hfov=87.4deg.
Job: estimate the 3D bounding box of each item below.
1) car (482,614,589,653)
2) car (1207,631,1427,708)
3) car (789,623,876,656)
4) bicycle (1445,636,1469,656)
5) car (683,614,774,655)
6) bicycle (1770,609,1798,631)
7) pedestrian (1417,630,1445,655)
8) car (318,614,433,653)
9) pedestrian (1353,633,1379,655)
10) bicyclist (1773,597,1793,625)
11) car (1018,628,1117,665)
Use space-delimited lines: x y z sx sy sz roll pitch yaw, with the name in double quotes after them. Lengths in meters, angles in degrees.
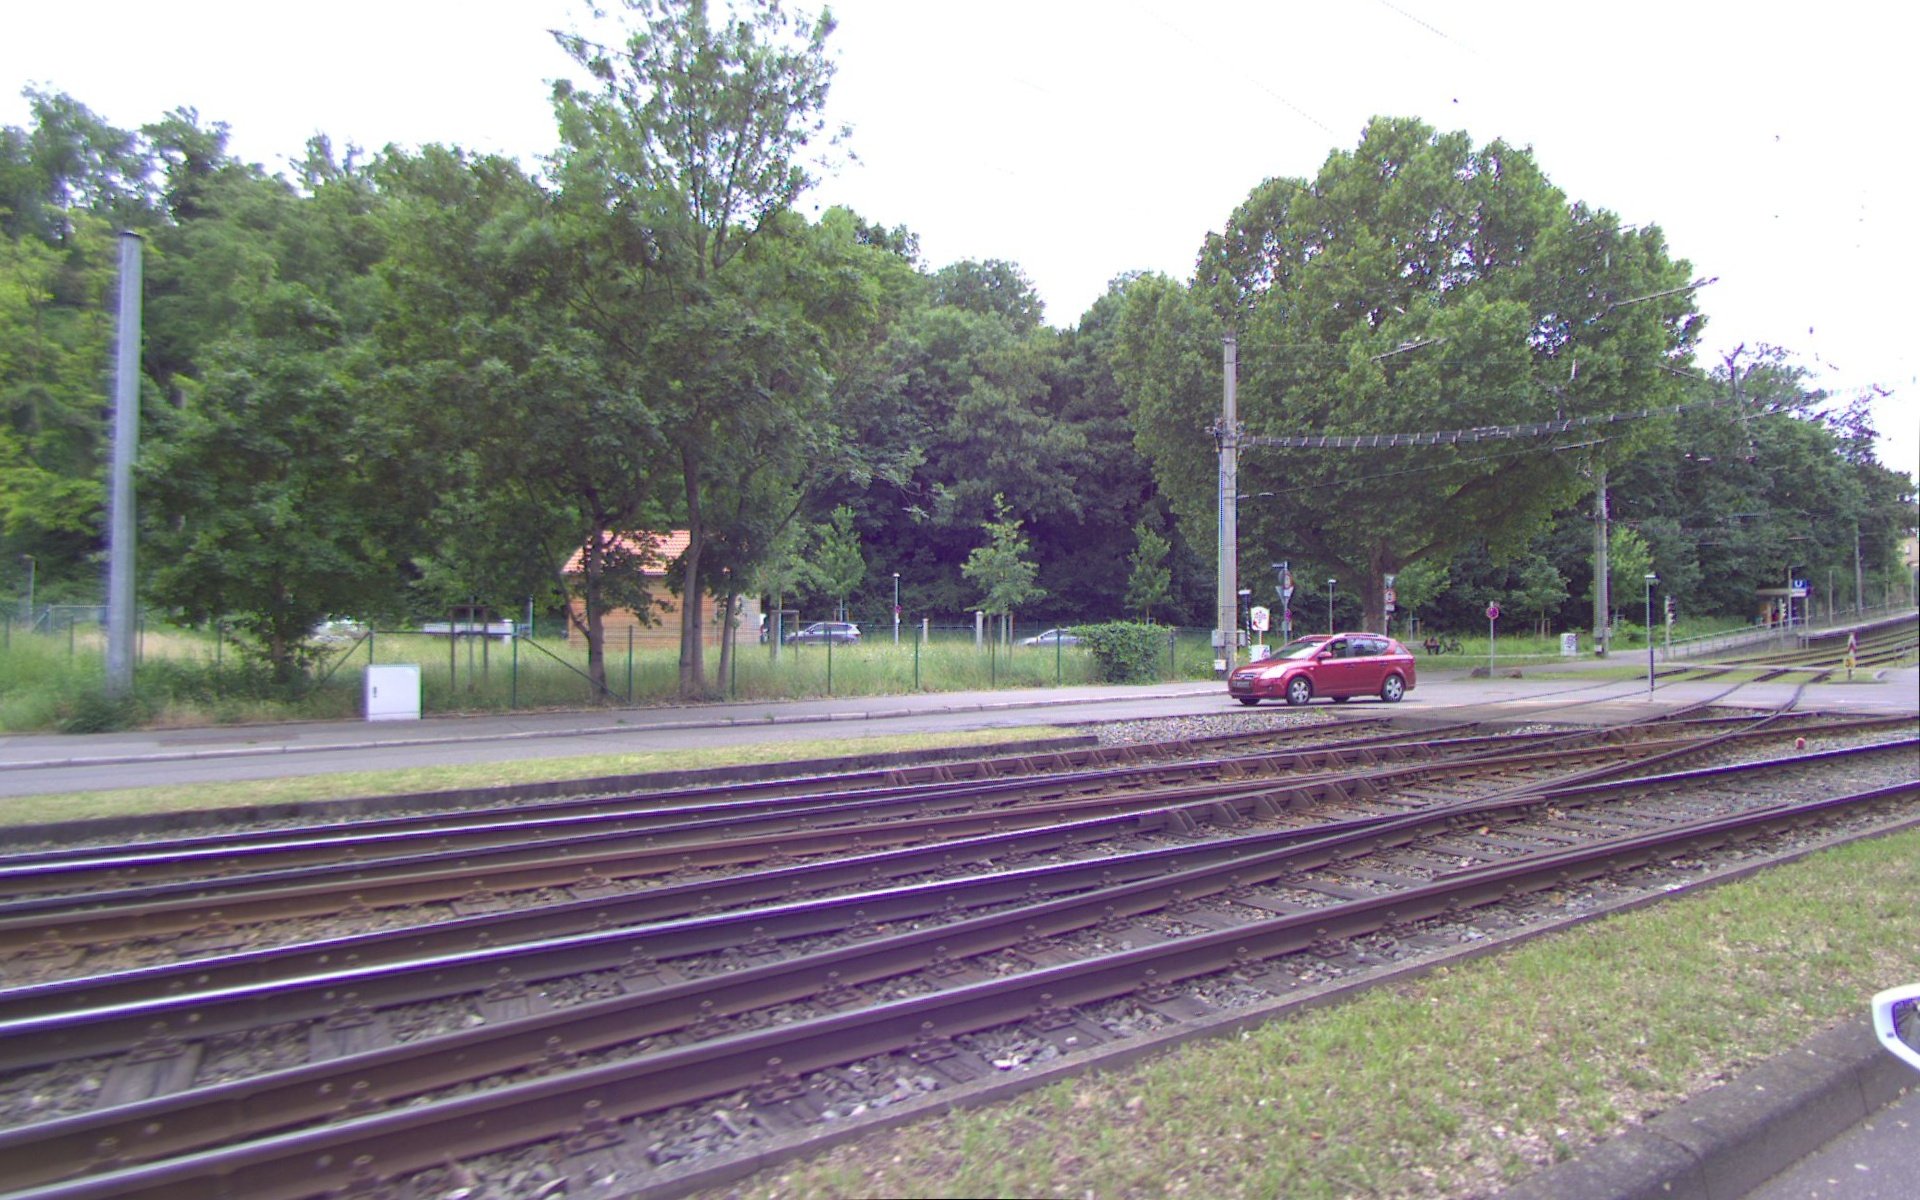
-18.960 1.499 45.040 3.921 1.684 2.000 0 -2 0 "car"
7.875 1.476 22.186 4.436 1.535 1.990 1 -2 -23 "car"
-6.535 2.023 51.695 4.321 1.603 1.998 0 -1 -6 "car"
27.056 2.497 54.734 0.662 1.025 1.654 2 0 8 "bicycle"
-11.844 1.784 51.691 4.320 2.040 1.999 0 -1 -5 "car"
56.023 1.368 68.286 2.970 1.361 0.817 -2 0 -39 "bicycle"
25.847 2.302 55.119 1.035 1.285 1.117 2 0 8 "pedestrian"
-25.888 1.467 44.601 3.921 1.684 2.000 0 -2 0 "car"
22.001 2.398 54.426 1.059 1.110 0.906 2 0 5 "pedestrian"
55.854 0.773 68.161 1.042 1.874 0.815 -2 0 -38 "bicyclist"
5.664 2.433 53.356 4.985 1.913 2.355 0 -2 -2 "car"
